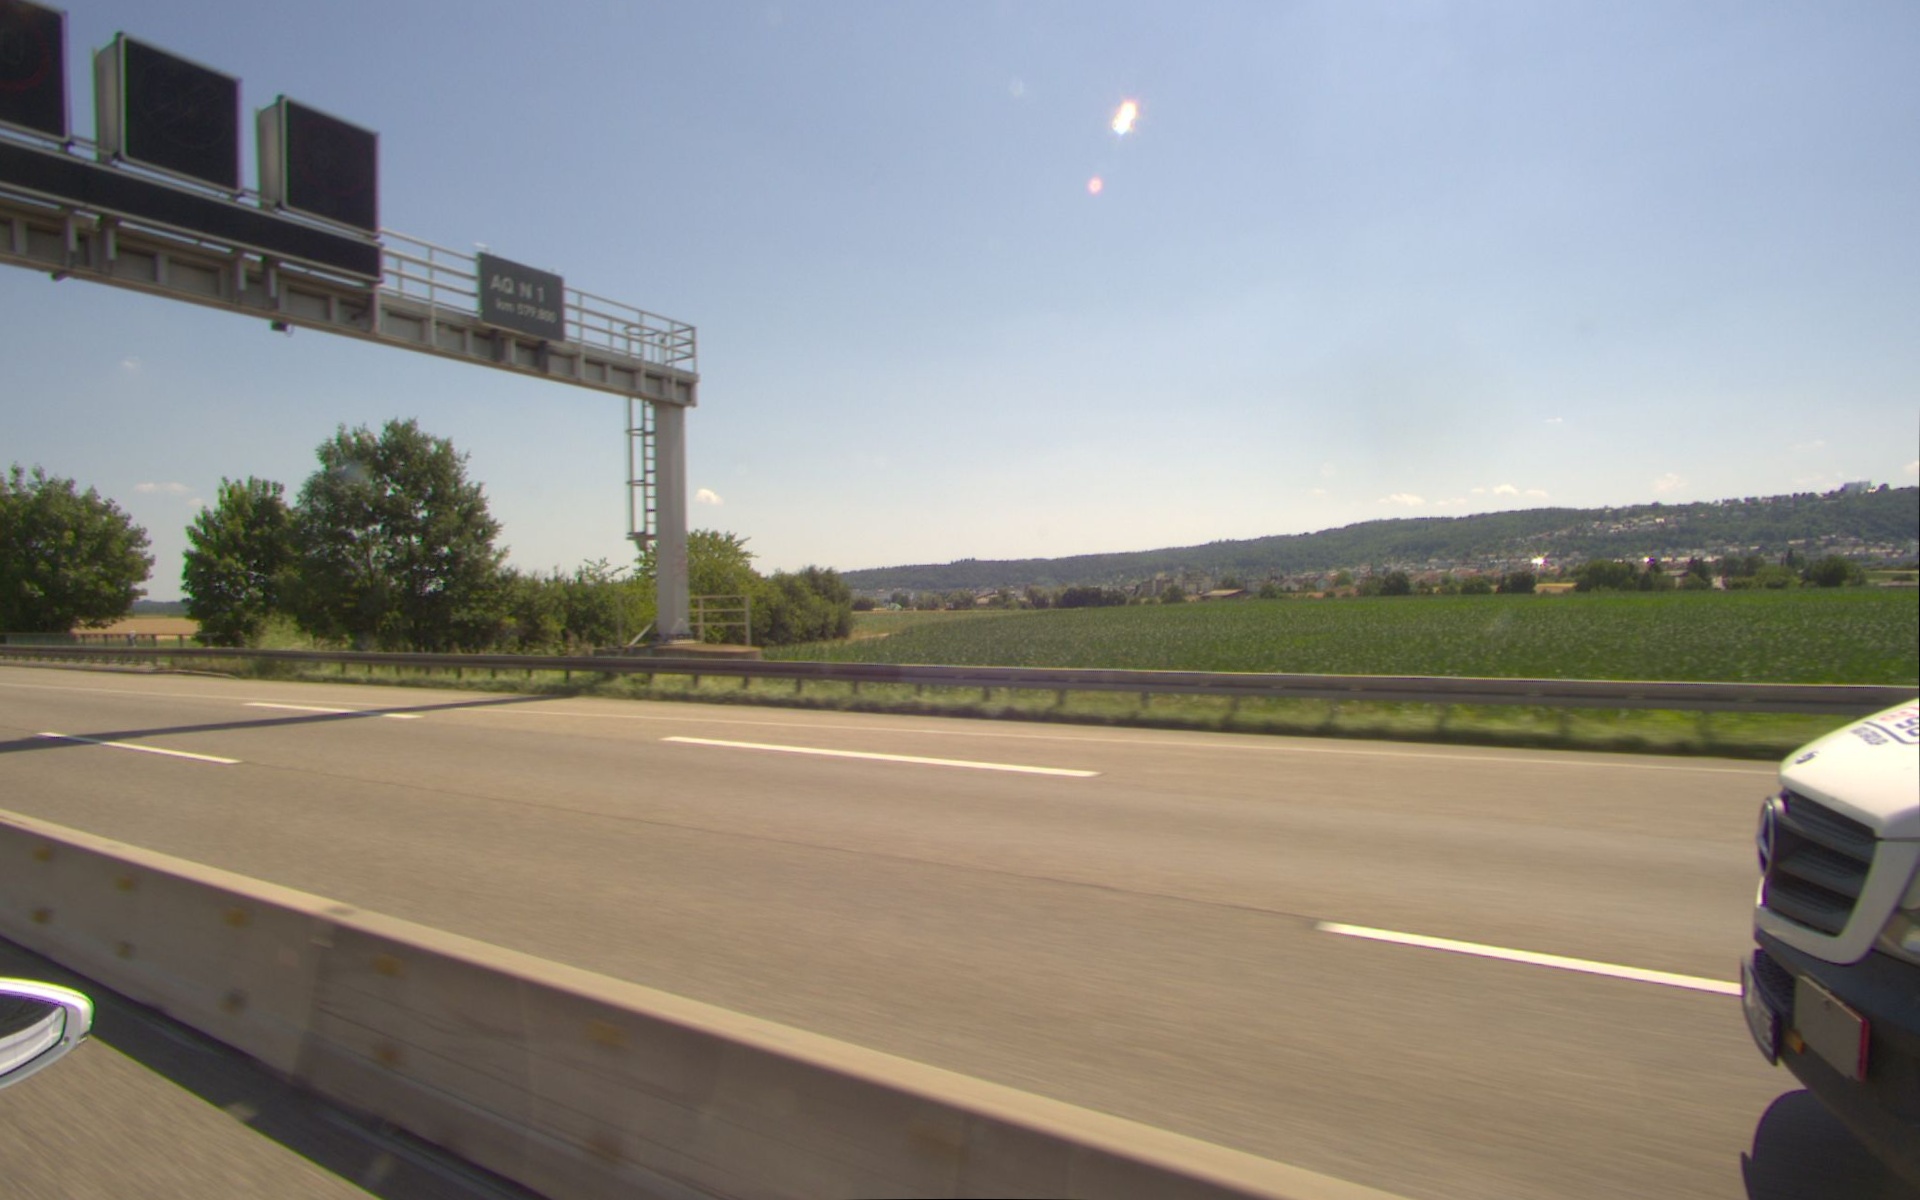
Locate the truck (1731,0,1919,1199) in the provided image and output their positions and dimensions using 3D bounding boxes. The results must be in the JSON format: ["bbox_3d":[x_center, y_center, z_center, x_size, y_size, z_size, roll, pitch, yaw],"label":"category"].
[{"bbox_3d":[5.044,-0.066,0.910,6.654,3.107,2.316,0,-1,32],"label":"truck"}]
